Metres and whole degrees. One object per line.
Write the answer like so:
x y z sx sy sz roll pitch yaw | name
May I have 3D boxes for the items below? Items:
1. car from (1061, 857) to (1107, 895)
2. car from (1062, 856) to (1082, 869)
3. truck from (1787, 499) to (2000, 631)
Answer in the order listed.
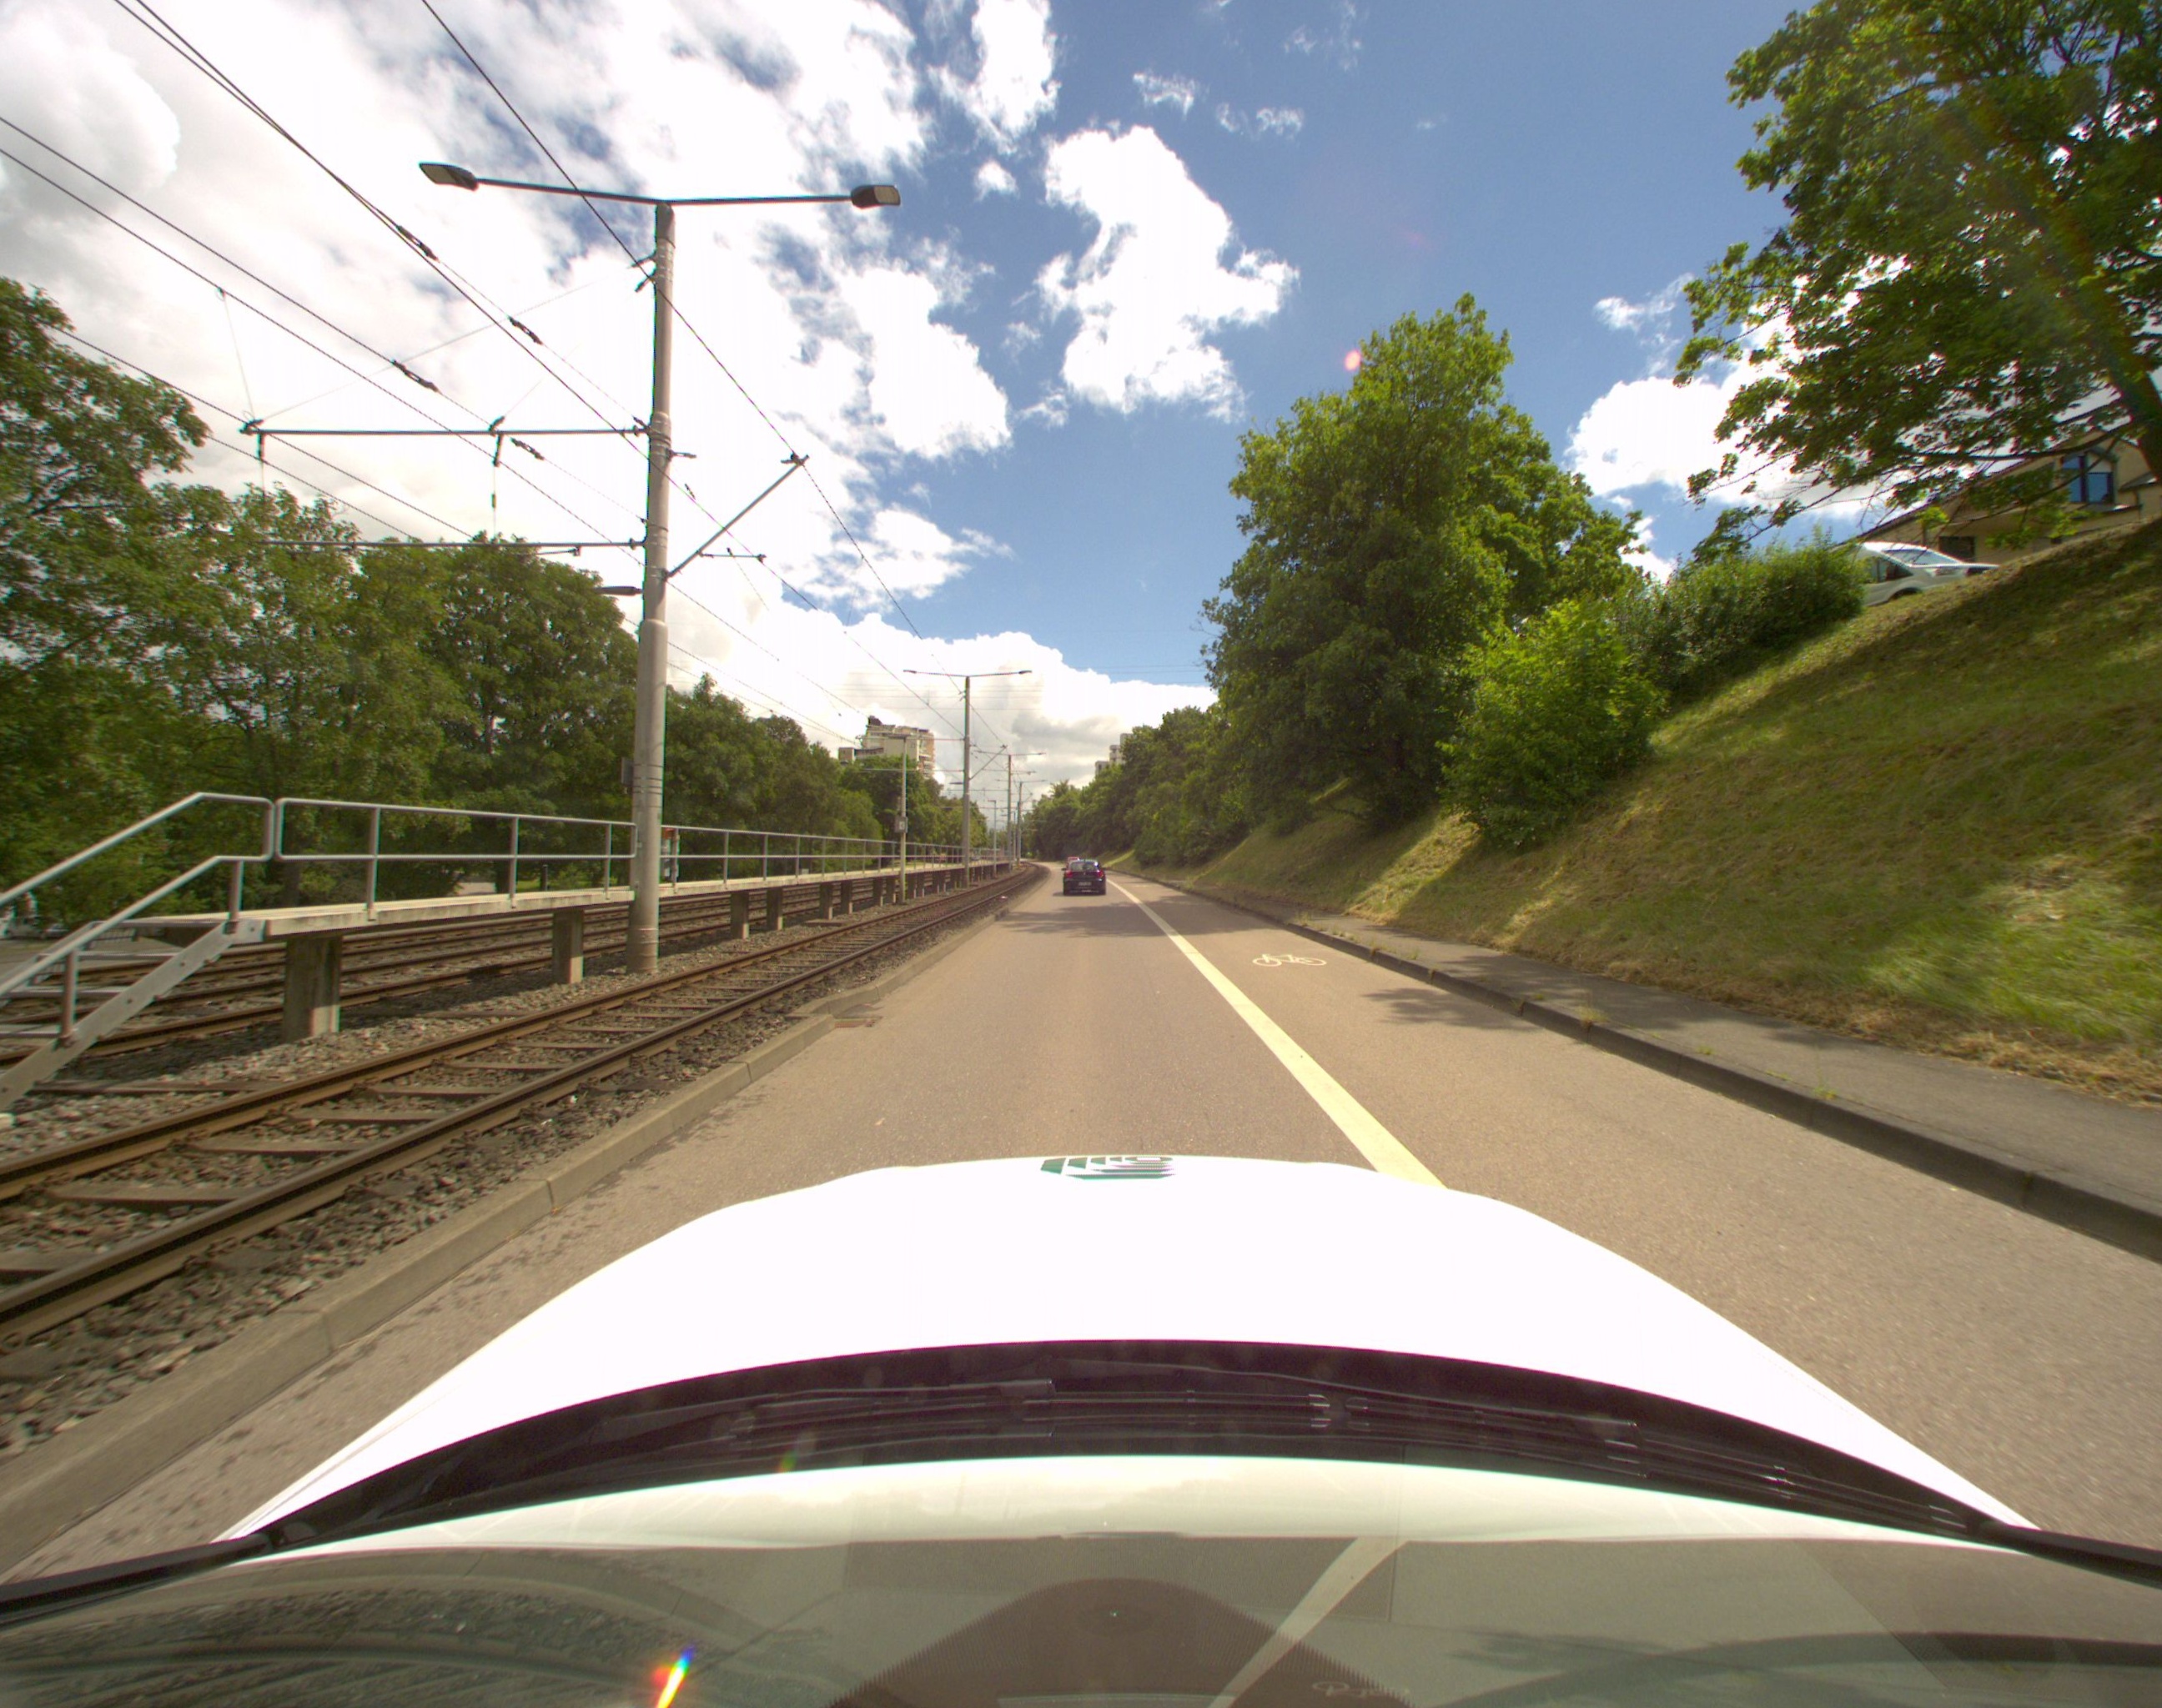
0.070 0.856 33.471 1.776 1.459 3.919 -1 0 -1 | car
-1.035 0.935 88.993 1.780 1.460 3.911 0 -1 -7 | car
20.587 -7.240 20.888 1.381 1.941 3.962 0 0 -3 | truck
